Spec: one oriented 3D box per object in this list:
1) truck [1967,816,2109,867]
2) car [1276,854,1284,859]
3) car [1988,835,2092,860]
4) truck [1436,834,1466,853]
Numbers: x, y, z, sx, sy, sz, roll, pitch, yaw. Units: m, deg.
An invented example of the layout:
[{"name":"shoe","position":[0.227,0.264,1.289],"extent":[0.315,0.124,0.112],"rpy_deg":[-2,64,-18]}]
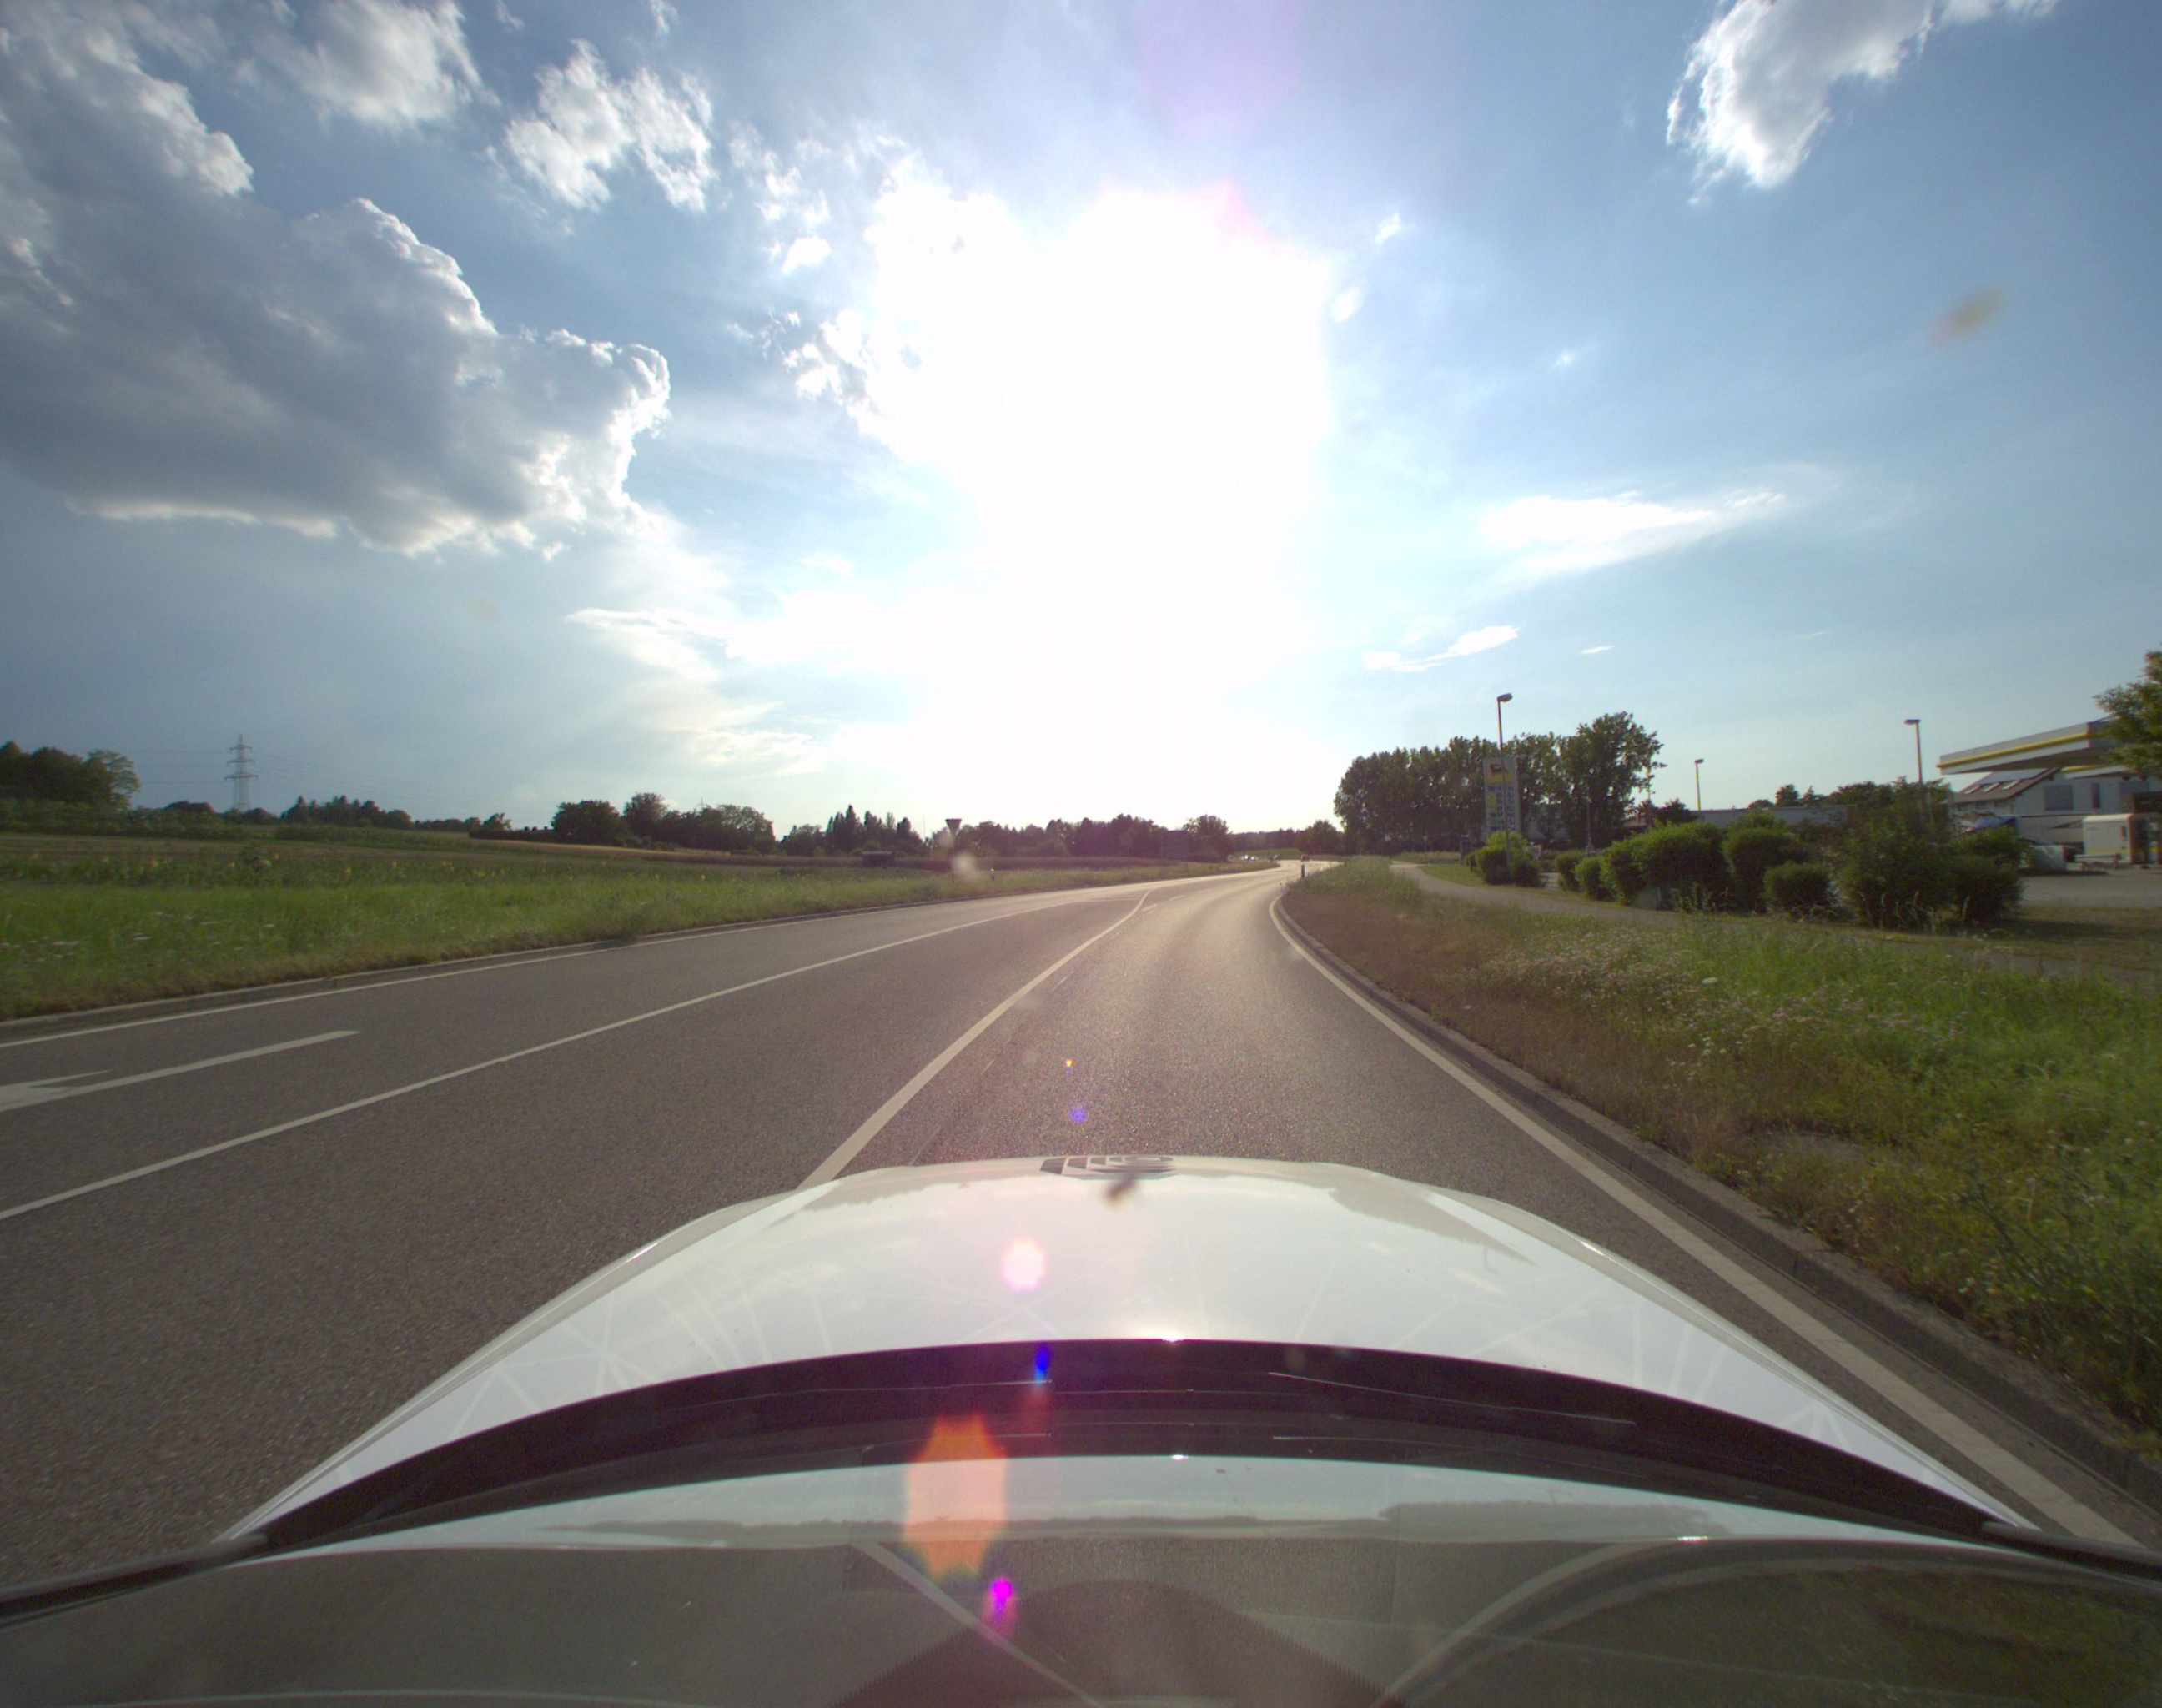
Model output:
[{"name":"truck","position":[72.694,-0.894,61.947],"extent":[7.967,3.688,2.763],"rpy_deg":[1,-1,-3]},{"name":"car","position":[54.888,0.778,224.688],"extent":[1.842,1.408,3.649],"rpy_deg":[0,-1,5]},{"name":"car","position":[67.137,-0.421,57.109],"extent":[1.845,1.635,4.405],"rpy_deg":[1,-1,-11]},{"name":"truck","position":[68.438,-1.972,150.770],"extent":[2.617,3.162,5.696],"rpy_deg":[1,-2,-6]}]
